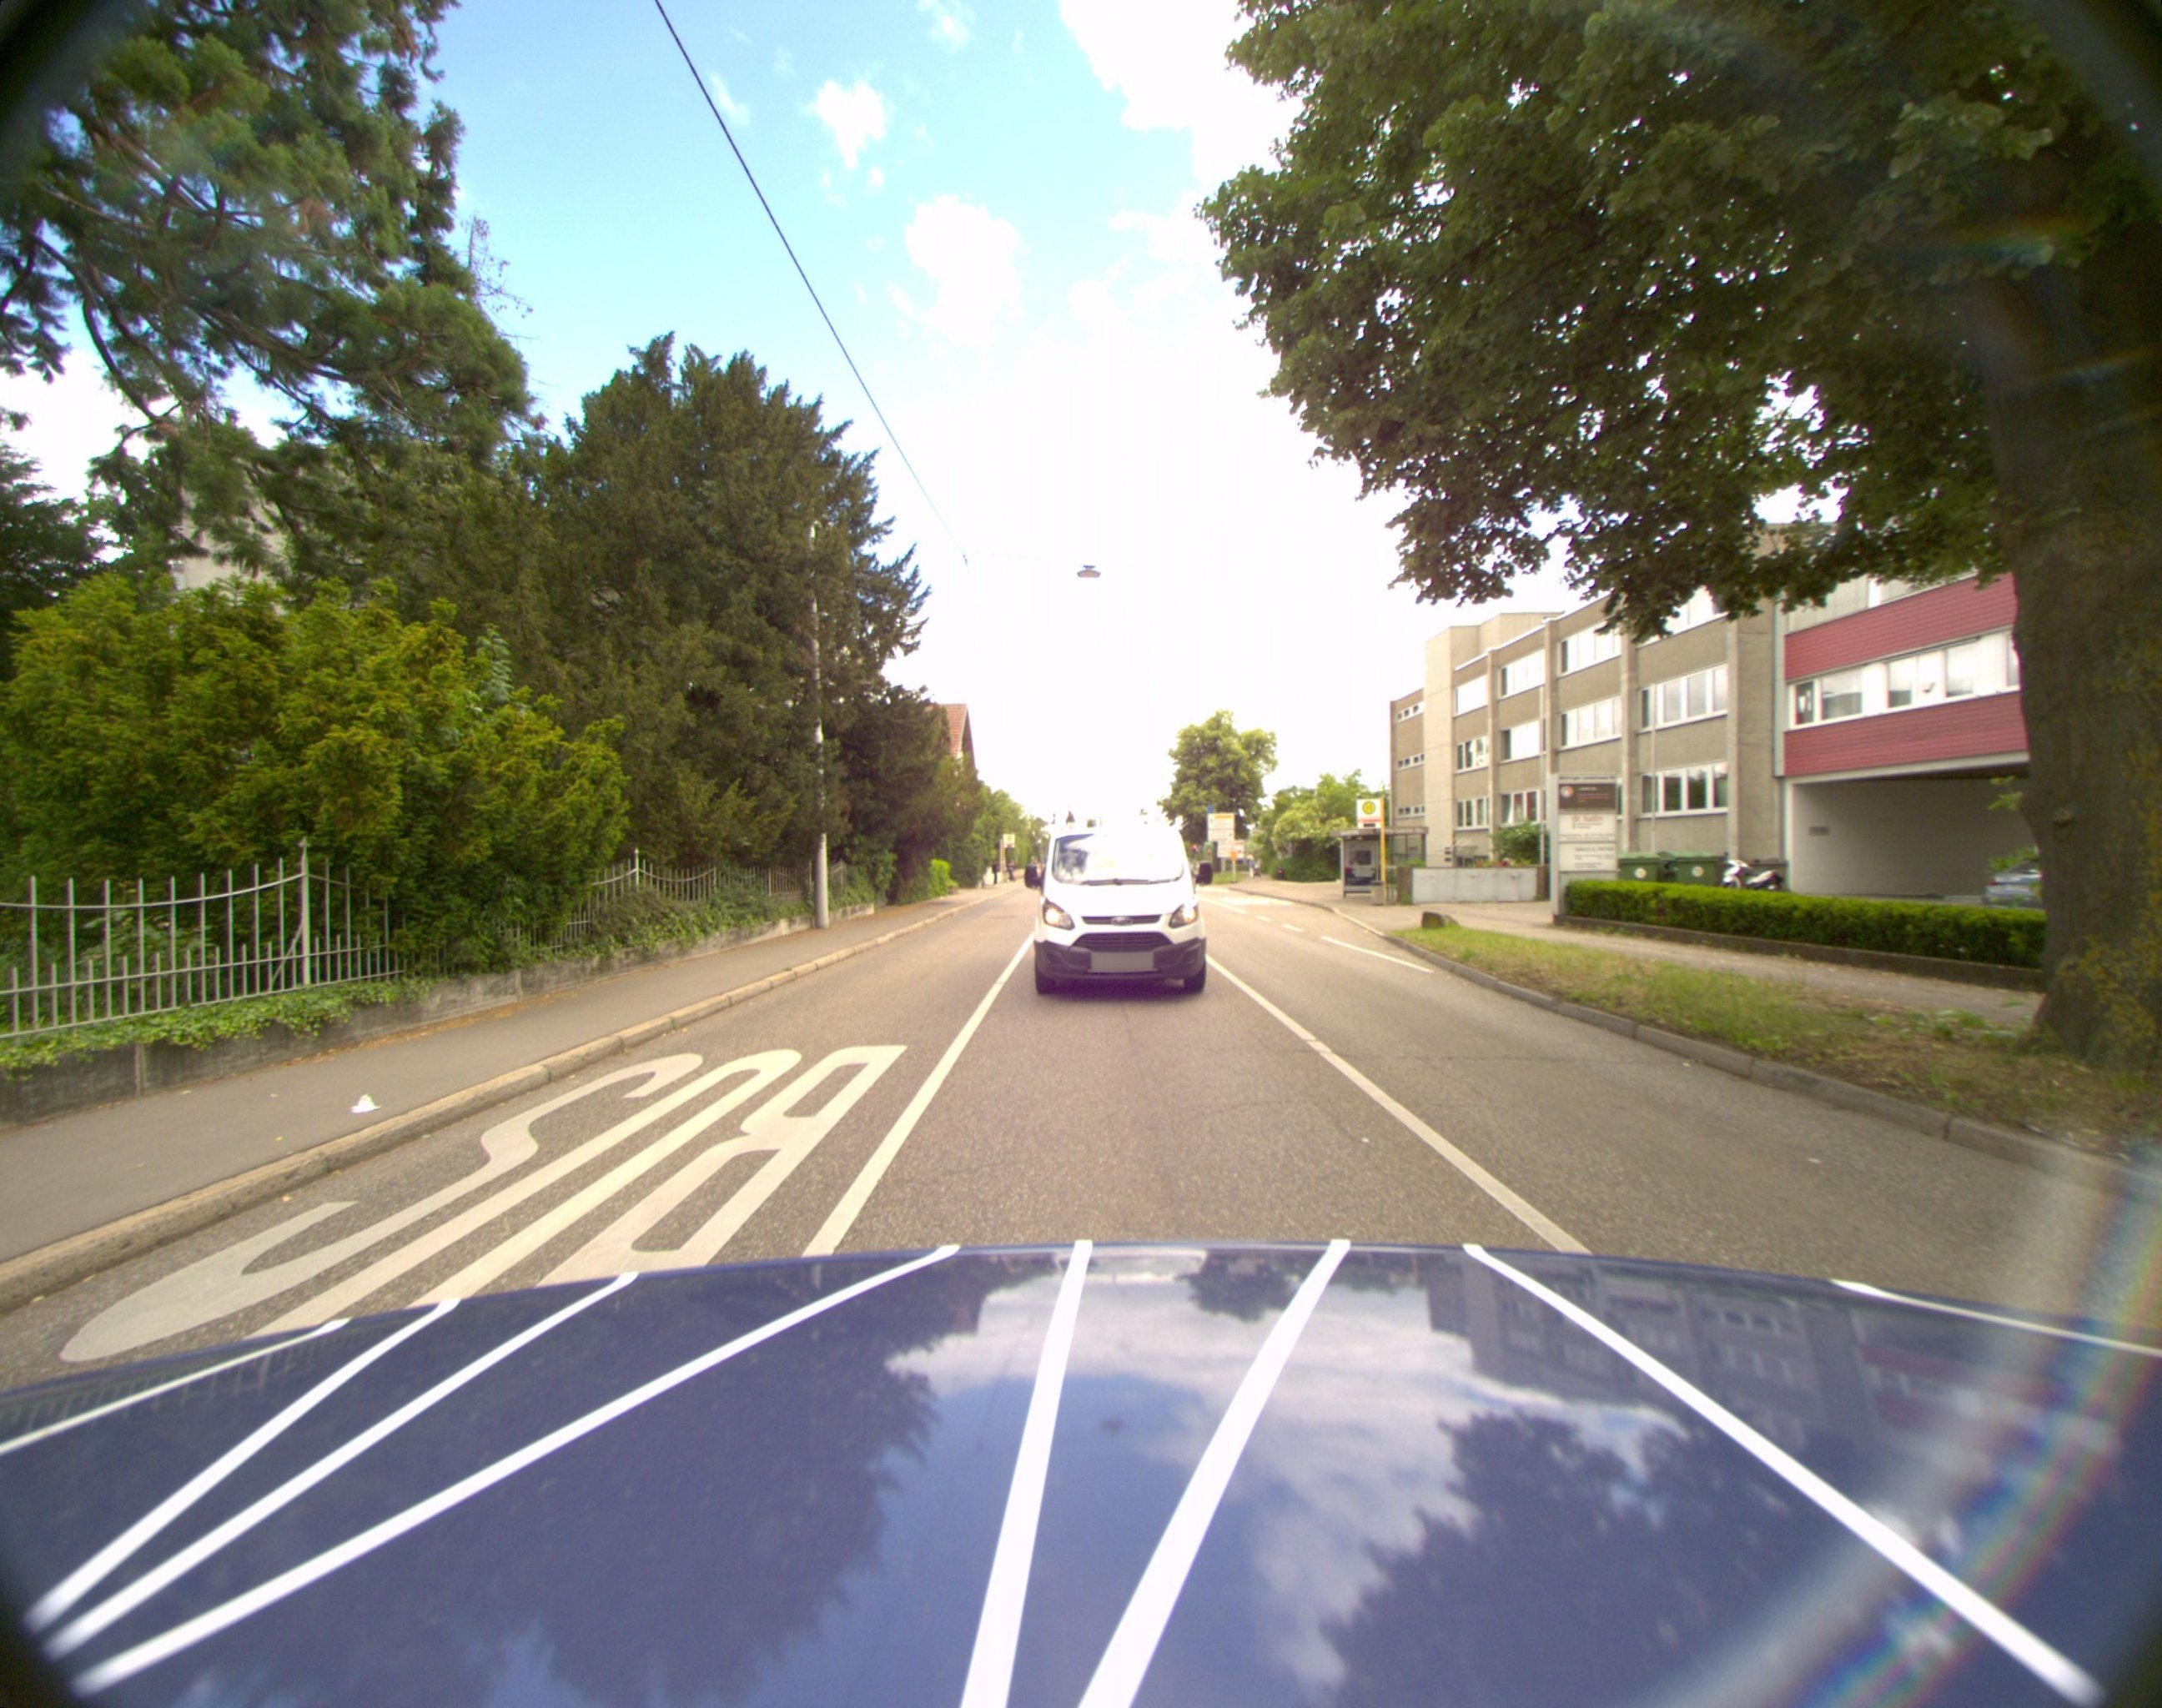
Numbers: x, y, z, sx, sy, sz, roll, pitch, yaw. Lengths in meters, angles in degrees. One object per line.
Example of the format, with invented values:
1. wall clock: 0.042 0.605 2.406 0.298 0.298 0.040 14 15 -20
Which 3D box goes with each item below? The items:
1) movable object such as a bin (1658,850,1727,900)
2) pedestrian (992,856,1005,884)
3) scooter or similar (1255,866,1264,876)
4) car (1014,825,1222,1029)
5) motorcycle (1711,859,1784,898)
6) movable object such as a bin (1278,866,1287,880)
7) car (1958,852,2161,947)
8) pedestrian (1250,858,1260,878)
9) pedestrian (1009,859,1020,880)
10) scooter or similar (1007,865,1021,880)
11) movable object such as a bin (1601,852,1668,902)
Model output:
1. movable object such as a bin: 18.634 0.629 23.180 1.365 1.457 0.885 -2 1 1
2. pedestrian: -5.419 1.043 49.762 0.489 1.756 0.672 -1 1 32
3. scooter or similar: 13.843 1.318 58.965 0.607 0.782 0.860 -2 1 17
4. car: 0.333 0.706 10.380 1.999 1.961 5.714 -2 0 -1
5. motorcycle: 20.356 0.740 23.233 1.645 1.133 0.639 -2 1 1
6. movable object such as a bin: 13.662 1.268 51.496 0.566 0.922 0.608 -1 1 16
7. car: 18.350 0.736 12.954 4.143 1.470 1.814 -2 1 15
8. pedestrian: 13.701 1.099 59.922 0.672 1.549 0.520 -2 1 18
9. pedestrian: -5.097 1.195 58.239 0.661 1.526 0.748 2 1 -1
10. scooter or similar: -5.062 1.385 57.390 0.478 1.091 0.860 3 1 43
11. movable object such as a bin: 16.931 0.693 23.259 1.301 1.457 0.992 -2 1 1
